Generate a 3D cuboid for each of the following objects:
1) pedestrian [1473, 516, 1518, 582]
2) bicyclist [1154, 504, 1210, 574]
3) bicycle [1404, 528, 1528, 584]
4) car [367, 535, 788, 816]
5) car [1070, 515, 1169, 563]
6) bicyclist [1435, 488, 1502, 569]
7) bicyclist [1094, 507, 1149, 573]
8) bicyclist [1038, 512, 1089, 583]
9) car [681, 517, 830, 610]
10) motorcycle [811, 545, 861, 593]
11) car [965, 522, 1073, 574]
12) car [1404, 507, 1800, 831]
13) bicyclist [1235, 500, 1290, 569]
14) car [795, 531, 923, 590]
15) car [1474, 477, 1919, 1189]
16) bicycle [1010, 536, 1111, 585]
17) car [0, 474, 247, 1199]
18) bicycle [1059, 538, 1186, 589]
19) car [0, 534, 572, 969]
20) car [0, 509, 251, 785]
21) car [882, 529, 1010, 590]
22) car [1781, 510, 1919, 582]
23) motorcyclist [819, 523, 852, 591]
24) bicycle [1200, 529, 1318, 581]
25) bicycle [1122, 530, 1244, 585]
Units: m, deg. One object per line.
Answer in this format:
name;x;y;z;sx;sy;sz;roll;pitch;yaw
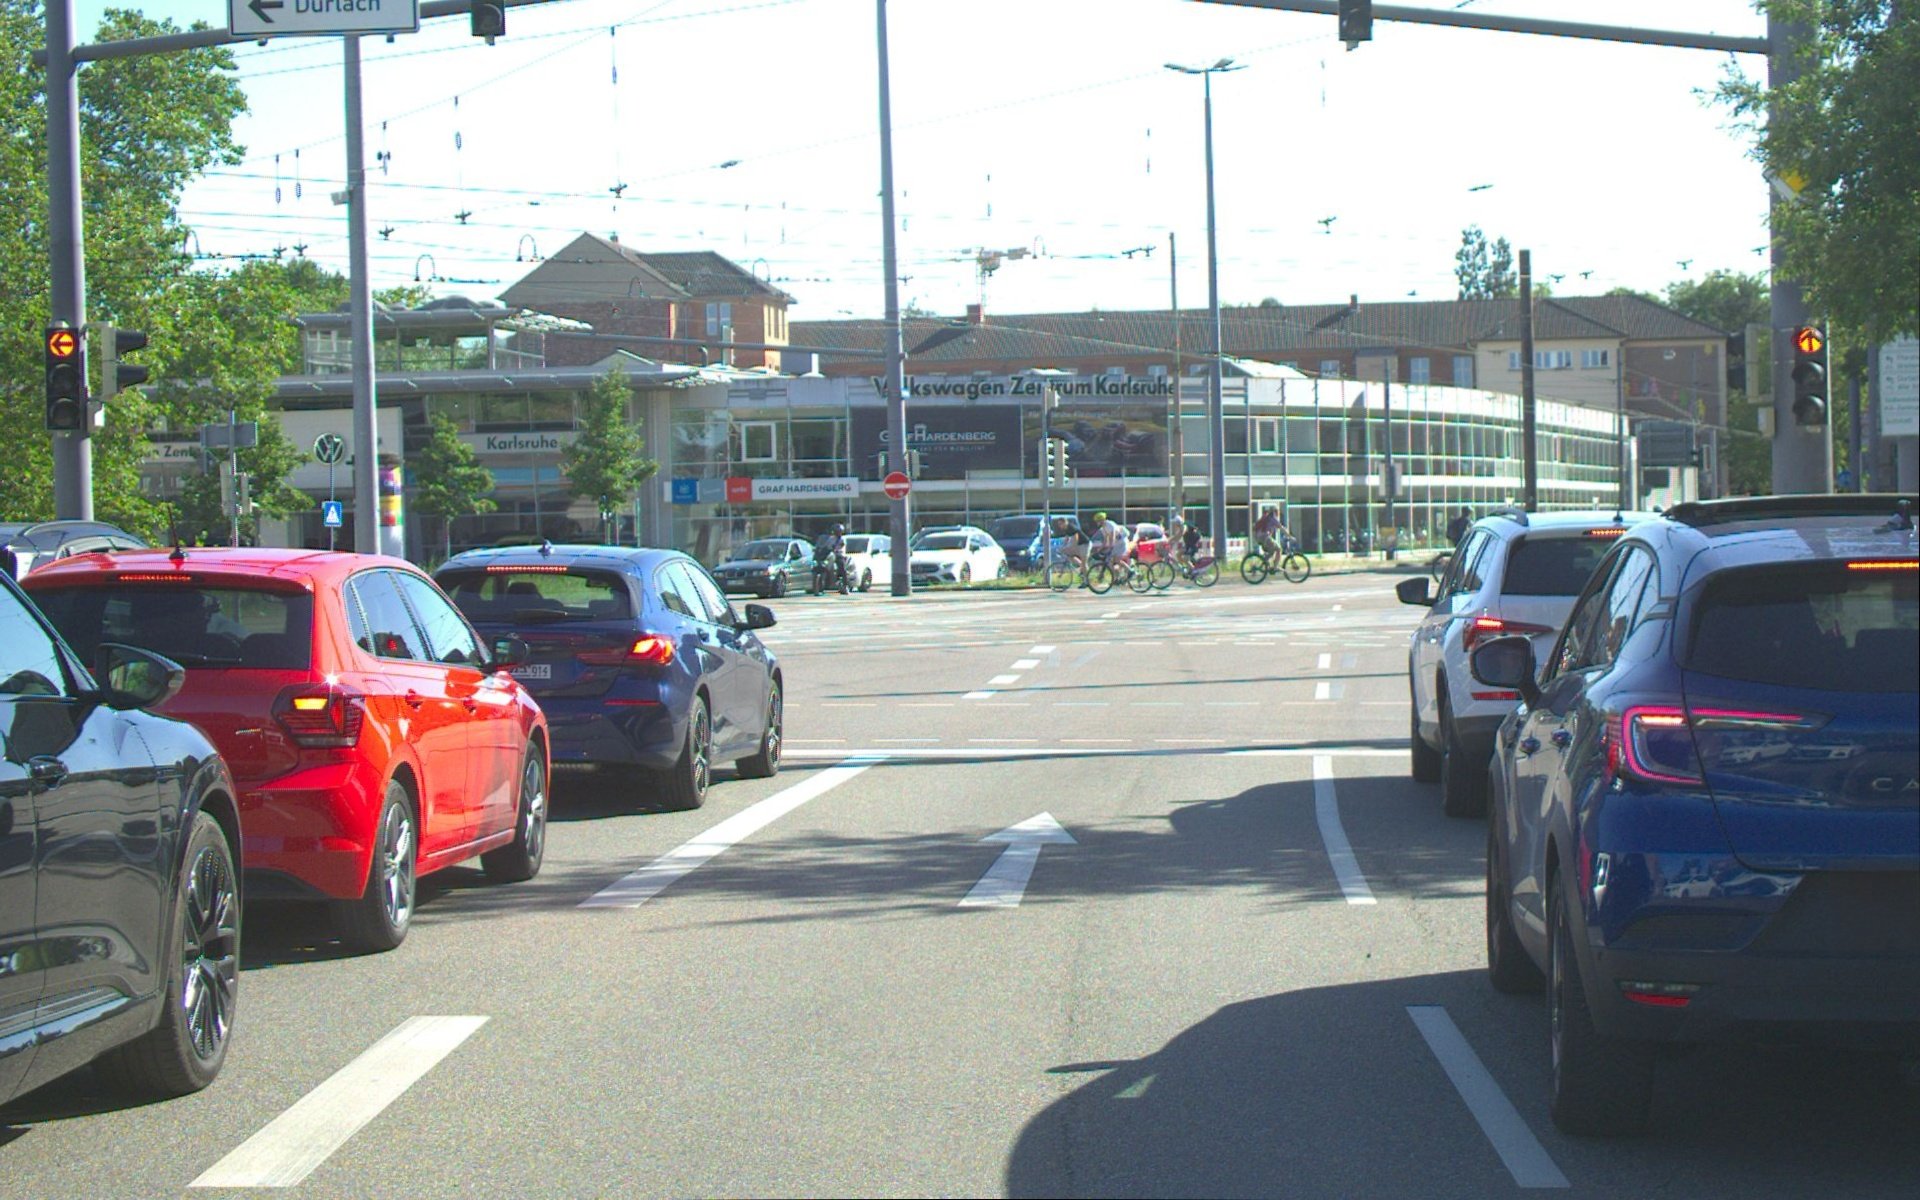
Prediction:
pedestrian;13.379;-1.277;85.866;0.849;1.605;0.703;-3;4;-36
bicyclist;5.130;-1.415;79.502;1.062;1.578;0.948;-1;3;-13
bicycle;11.448;-1.009;77.772;2.645;1.184;0.948;-2;3;-21
car;-2.114;0.357;20.018;1.725;1.437;3.798;1;1;4
car;4.965;-1.879;106.618;1.727;1.437;4.179;2;1;22
bicyclist;11.499;-1.625;77.747;1.183;1.770;0.948;-1;3;-21
bicyclist;3.583;-1.336;76.437;0.961;1.444;0.969;-1;1;-14
bicyclist;2.352;-1.194;78.274;0.985;1.598;0.759;-1;1;-11
car;-4.841;-0.901;81.952;1.996;2.006;3.996;1;4;23
motorcycle;-2.924;-0.741;81.383;0.562;1.091;1.834;-1;1;18
car;1.735;-1.501;99.478;1.727;1.437;4.179;2;1;22
car;3.459;0.317;19.109;1.877;1.612;3.624;1;1;6
bicyclist;7.223;-1.570;82.145;1.062;1.578;0.948;-1;3;-13
car;-2.564;-1.030;88.084;1.727;1.437;4.180;0;1;22
car;2.480;0.507;9.689;1.877;1.612;3.797;1;1;6
bicycle;2.285;-0.898;78.261;2.177;1.091;0.759;-1;1;-11
car;-2.998;0.536;7.457;1.984;1.618;4.378;0;1;0
bicycle;3.606;-0.818;76.441;2.642;1.091;0.969;-1;1;-14
car;-2.722;0.476;13.541;1.672;1.437;3.721;1;1;4
car;-5.609;0.194;19.874;1.725;1.437;3.909;1;1;8
car;-0.322;-1.022;85.658;1.727;1.437;4.180;0;1;22
car;19.534;-1.116;71.707;4.358;1.437;1.731;1;1;-16
motorcyclist;-2.946;-1.019;81.315;0.550;1.615;0.744;-1;1;18
bicycle;7.132;-1.080;82.139;2.645;1.184;0.948;-1;3;-13
bicycle;5.158;-0.988;79.518;2.645;1.184;0.948;-1;3;-13
